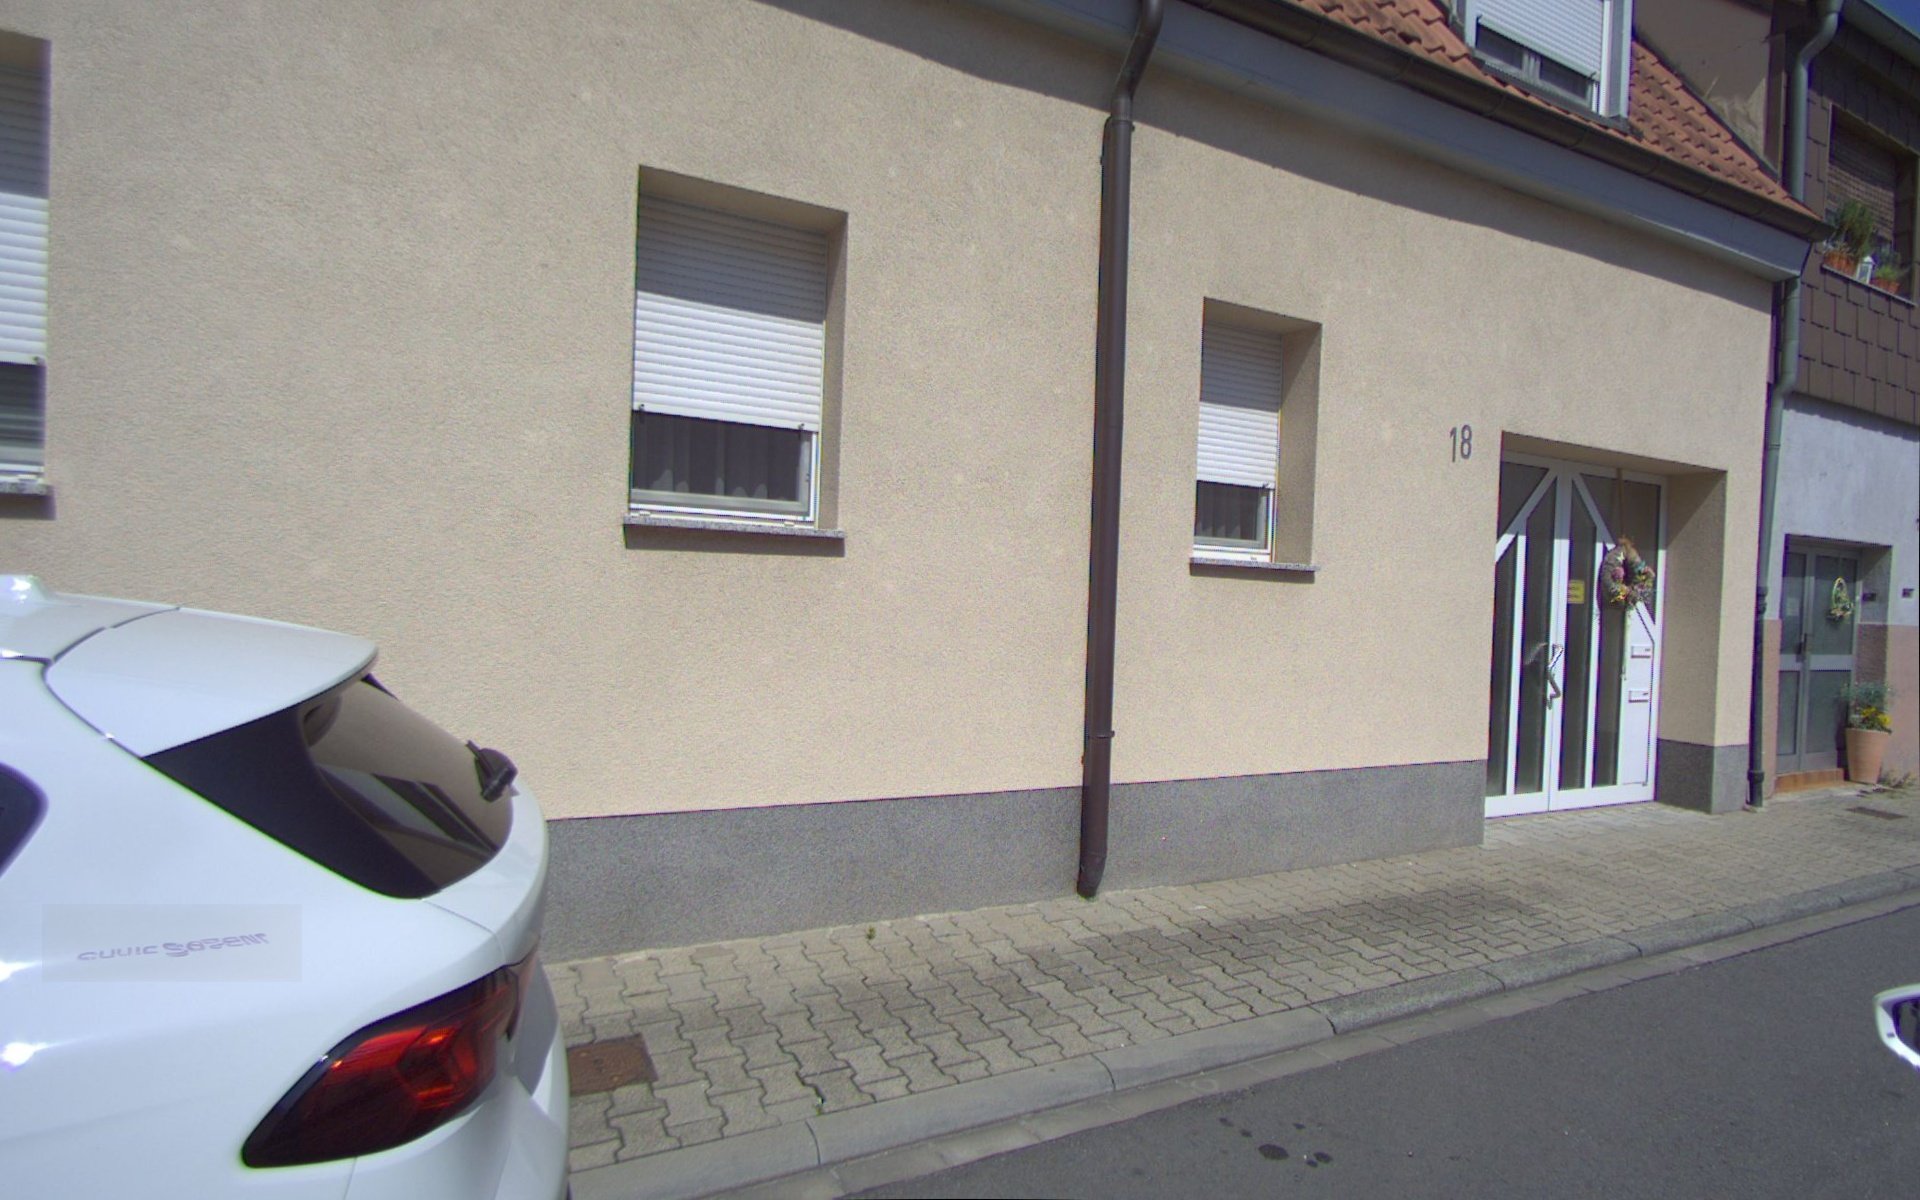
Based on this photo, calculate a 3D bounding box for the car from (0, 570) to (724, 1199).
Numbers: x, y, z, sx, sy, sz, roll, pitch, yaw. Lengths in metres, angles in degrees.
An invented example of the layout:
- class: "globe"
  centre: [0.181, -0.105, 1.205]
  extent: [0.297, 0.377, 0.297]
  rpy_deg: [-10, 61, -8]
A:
- class: "car"
  centre: [-2.564, 0.654, 1.108]
  extent: [4.162, 1.473, 1.775]
  rpy_deg: [2, 0, -27]
